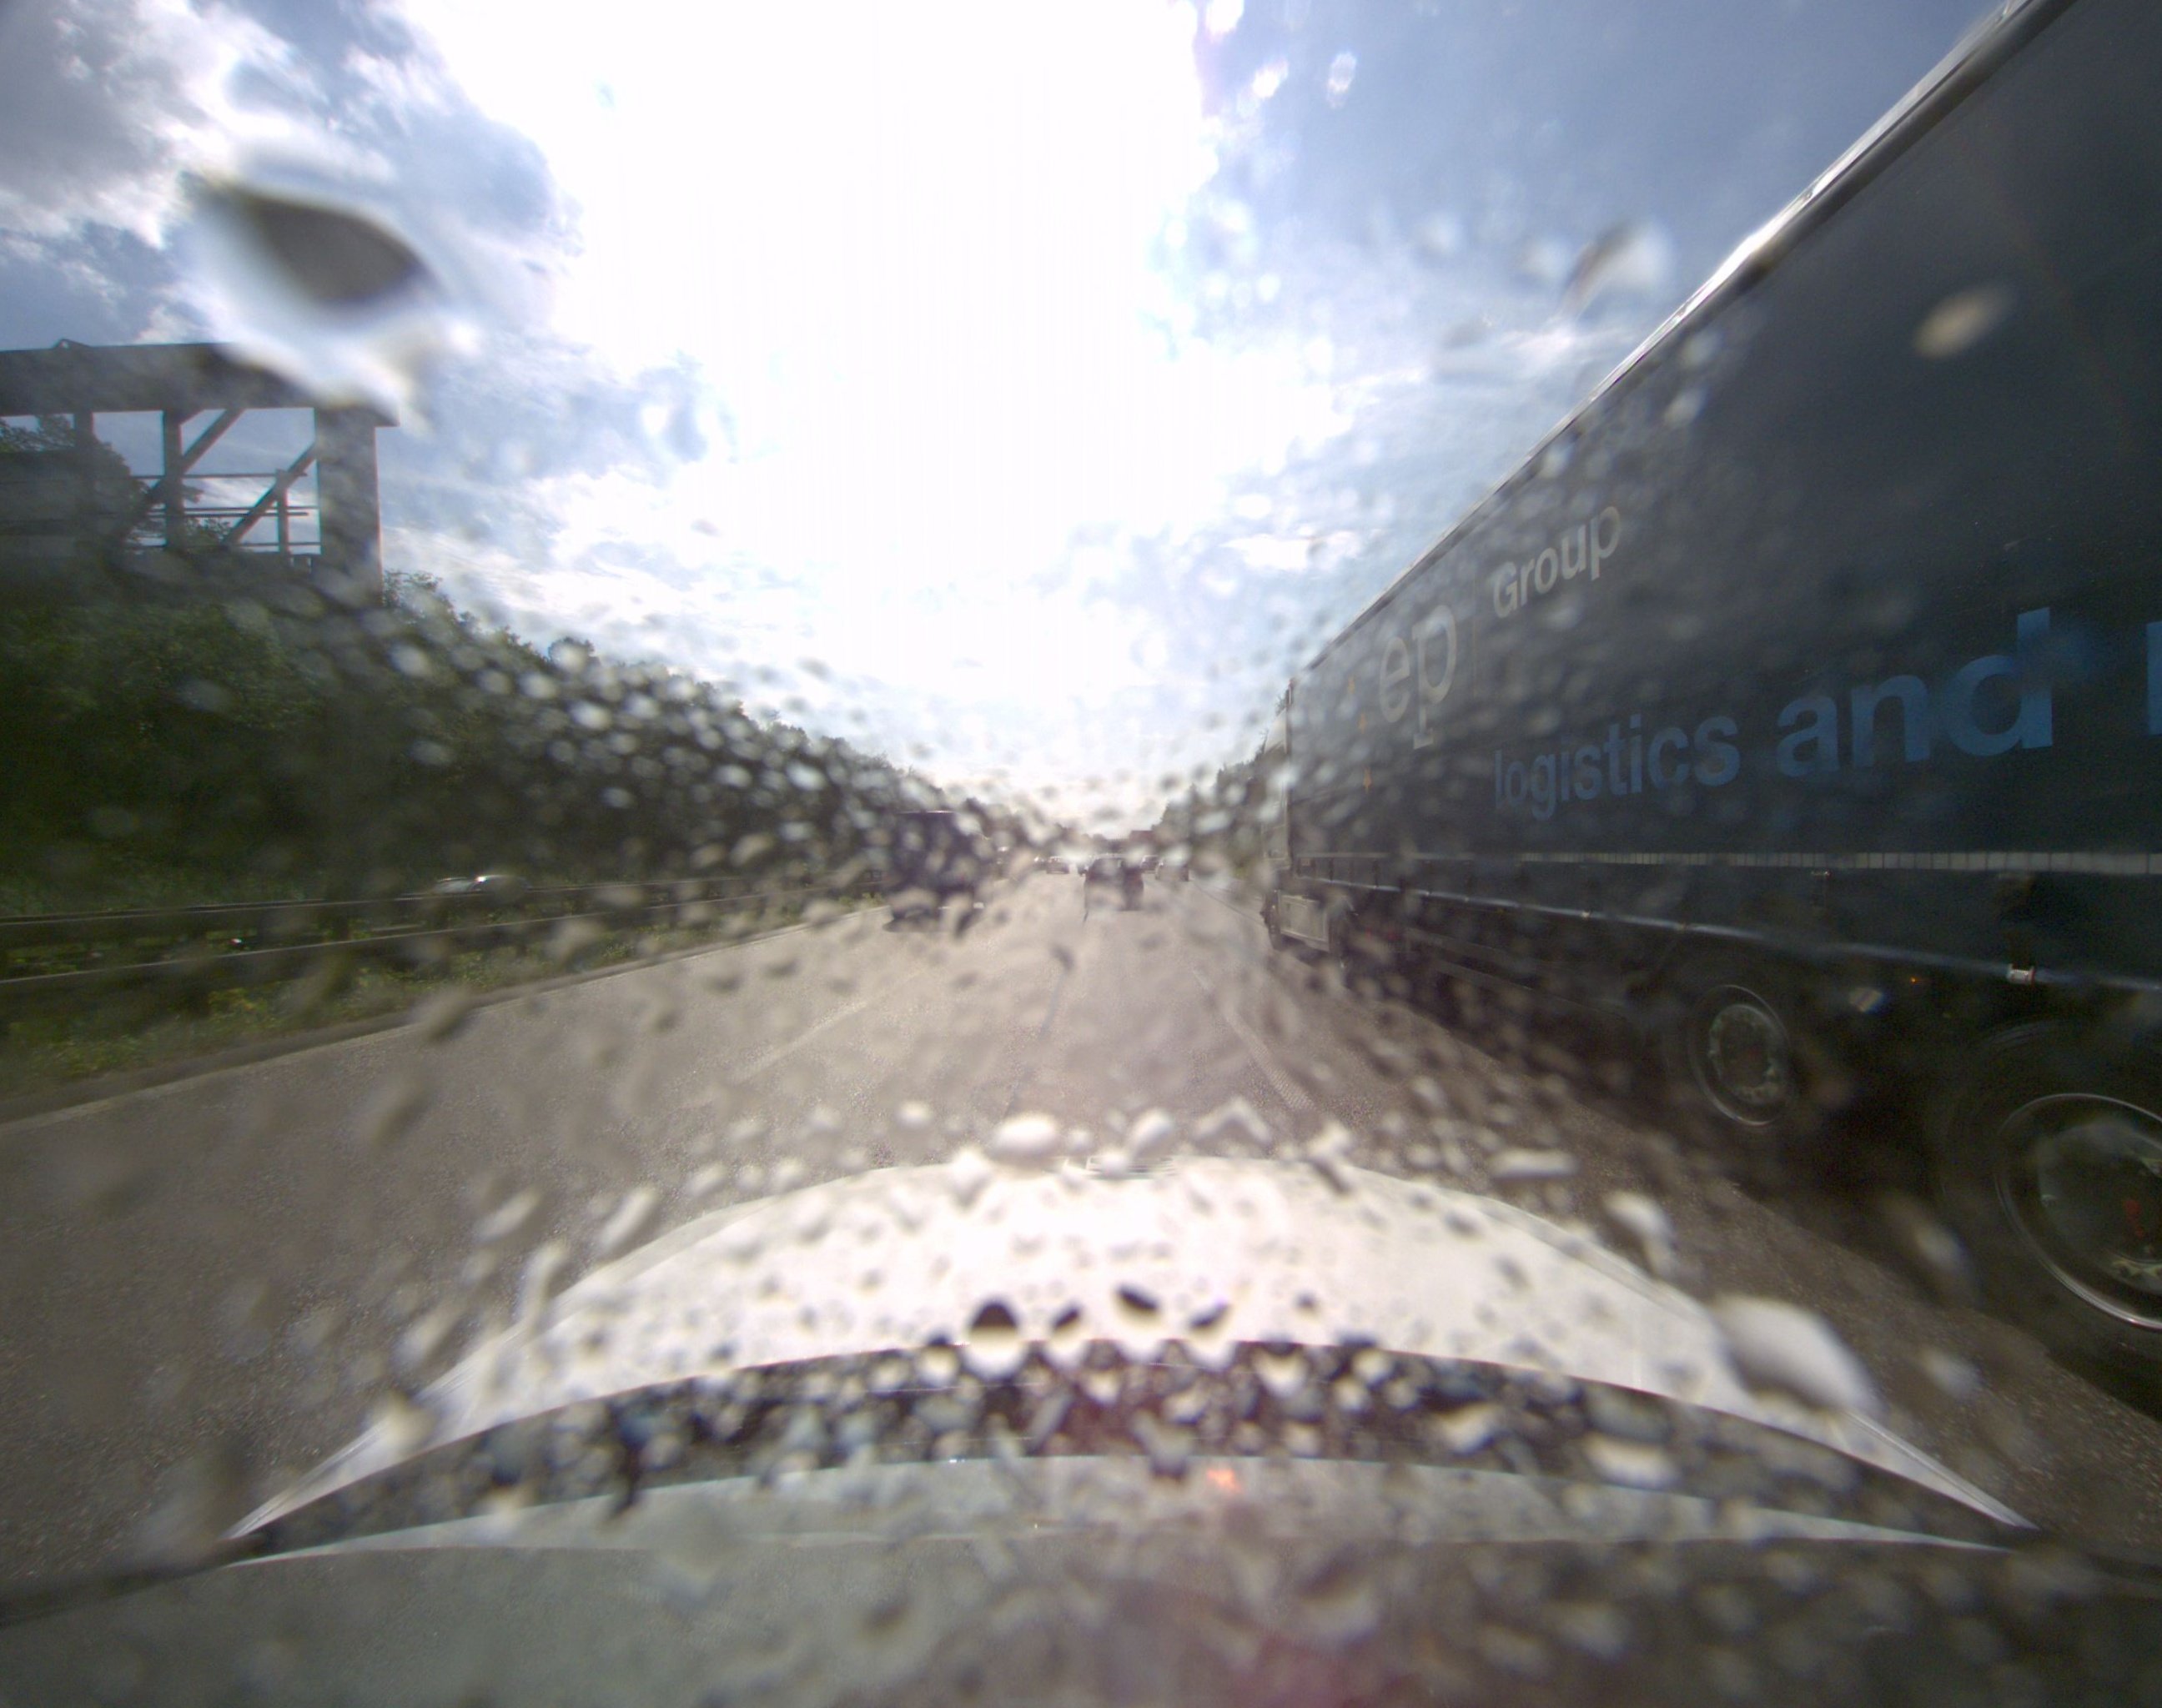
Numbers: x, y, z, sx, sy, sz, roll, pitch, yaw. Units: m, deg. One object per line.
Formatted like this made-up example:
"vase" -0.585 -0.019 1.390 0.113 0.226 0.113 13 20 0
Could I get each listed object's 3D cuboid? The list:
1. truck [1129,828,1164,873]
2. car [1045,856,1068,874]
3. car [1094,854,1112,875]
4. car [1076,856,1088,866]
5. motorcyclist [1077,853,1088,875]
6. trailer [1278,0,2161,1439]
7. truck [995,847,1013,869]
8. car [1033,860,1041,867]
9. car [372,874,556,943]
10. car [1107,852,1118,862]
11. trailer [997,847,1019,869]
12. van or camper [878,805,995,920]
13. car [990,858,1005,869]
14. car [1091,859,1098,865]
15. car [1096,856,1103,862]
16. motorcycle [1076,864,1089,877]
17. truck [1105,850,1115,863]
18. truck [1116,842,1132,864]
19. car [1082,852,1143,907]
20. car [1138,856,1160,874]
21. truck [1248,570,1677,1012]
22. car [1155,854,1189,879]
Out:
"truck" 7.450 -0.362 94.448 3.634 4.720 16.793 -1 0 3
"car" -2.119 0.974 71.107 1.848 1.551 3.486 -1 0 1
"car" 1.885 0.926 69.754 1.526 1.746 3.486 -1 0 2
"car" 0.174 1.024 122.323 1.745 1.457 3.391 -1 0 1
"motorcyclist" 0.134 0.780 61.589 0.799 1.633 1.013 -1 -1 1
"trailer" 4.001 -0.590 5.103 2.624 3.996 14.071 -1 0 2
"truck" -15.494 0.767 164.775 2.852 4.373 6.870 -1 -1 2
"car" -10.335 2.244 191.747 1.693 1.663 4.237 -1 0 2
"car" -17.090 1.443 22.870 1.848 1.663 4.237 -1 0 2
"car" 4.578 0.455 118.584 1.547 1.383 3.211 -1 0 1
"trailer" -15.257 0.813 171.389 2.852 4.373 14.097 -1 0 2
"van or camper" -3.665 0.220 21.710 1.986 2.669 5.386 -1 0 2
"car" -14.013 1.596 136.969 1.822 1.663 4.632 -1 0 2
"car" 2.862 1.722 174.780 1.479 1.390 3.199 -1 0 2
"car" 5.544 1.485 241.103 1.986 1.701 4.002 -2 0 2
"motorcycle" 0.117 1.228 61.418 0.887 1.000 2.897 -1 0 2
"truck" 6.411 0.634 179.922 2.184 2.875 4.851 -1 -1 2
"truck" 9.118 -0.108 170.830 3.242 4.479 12.431 -1 0 3
"car" 0.955 0.749 25.036 1.711 1.568 3.486 -1 0 1
"car" 5.746 0.919 69.213 1.674 1.442 3.906 -1 0 2
"truck" 4.207 -0.547 11.050 2.597 3.996 7.294 -1 0 2
"car" 5.416 0.710 48.743 1.686 1.425 4.221 -1 0 2
